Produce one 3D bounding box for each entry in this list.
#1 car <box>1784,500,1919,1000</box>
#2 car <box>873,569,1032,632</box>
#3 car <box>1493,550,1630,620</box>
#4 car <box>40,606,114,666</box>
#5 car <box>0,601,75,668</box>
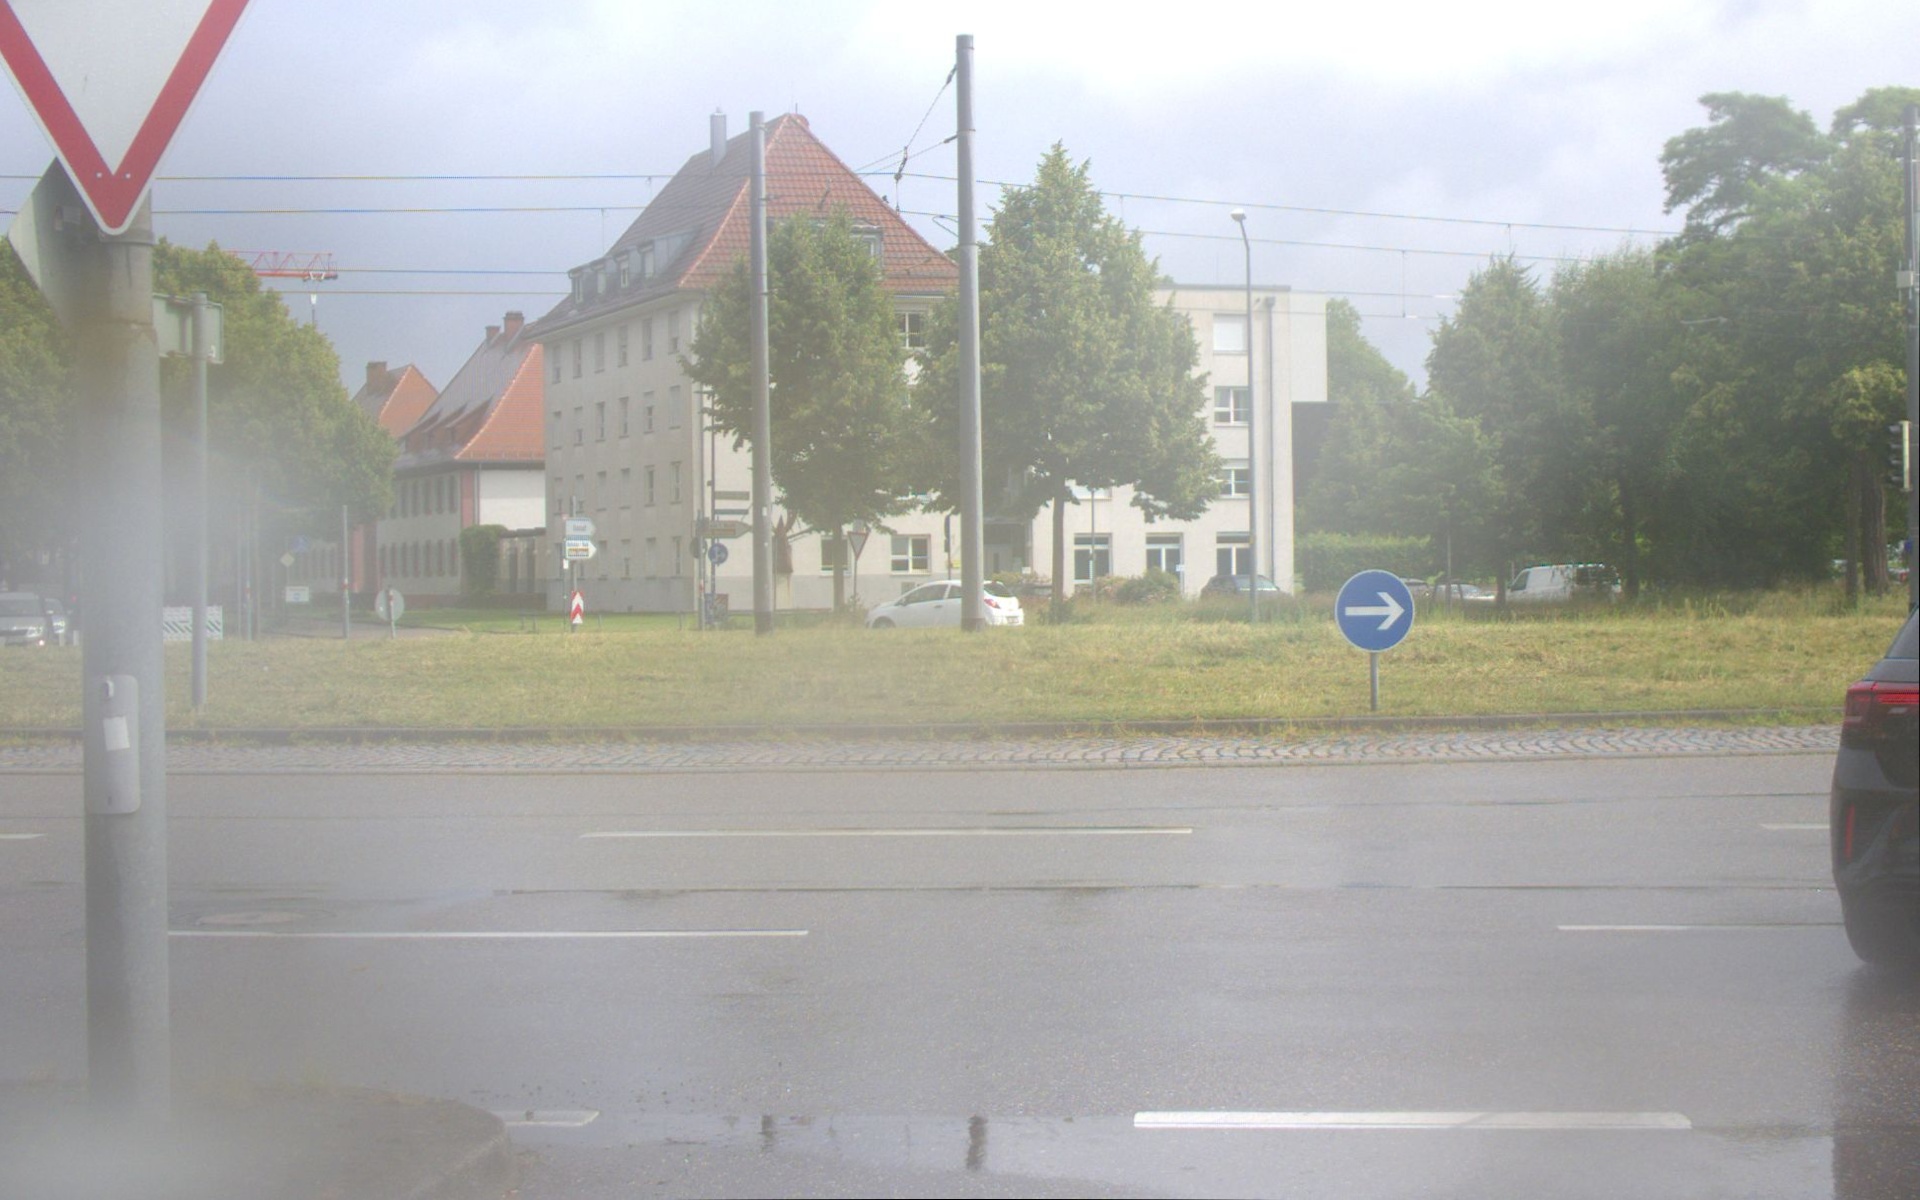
[{"bbox_3d":[4.368,0.421,12.766,1.899,1.612,3.996,-1,2,23],"label":"car"},{"bbox_3d":[-0.186,0.018,82.495,3.494,1.449,1.548,0,1,29],"label":"car"},{"bbox_3d":[18.635,-0.495,106.764,2.106,2.050,5.163,-2,1,-16],"label":"car"},{"bbox_3d":[-24.473,0.985,95.366,1.594,1.555,3.551,-1,1,-8],"label":"car"},{"bbox_3d":[-22.867,0.833,84.530,1.545,1.555,3.501,0,1,-4],"label":"car"}]
